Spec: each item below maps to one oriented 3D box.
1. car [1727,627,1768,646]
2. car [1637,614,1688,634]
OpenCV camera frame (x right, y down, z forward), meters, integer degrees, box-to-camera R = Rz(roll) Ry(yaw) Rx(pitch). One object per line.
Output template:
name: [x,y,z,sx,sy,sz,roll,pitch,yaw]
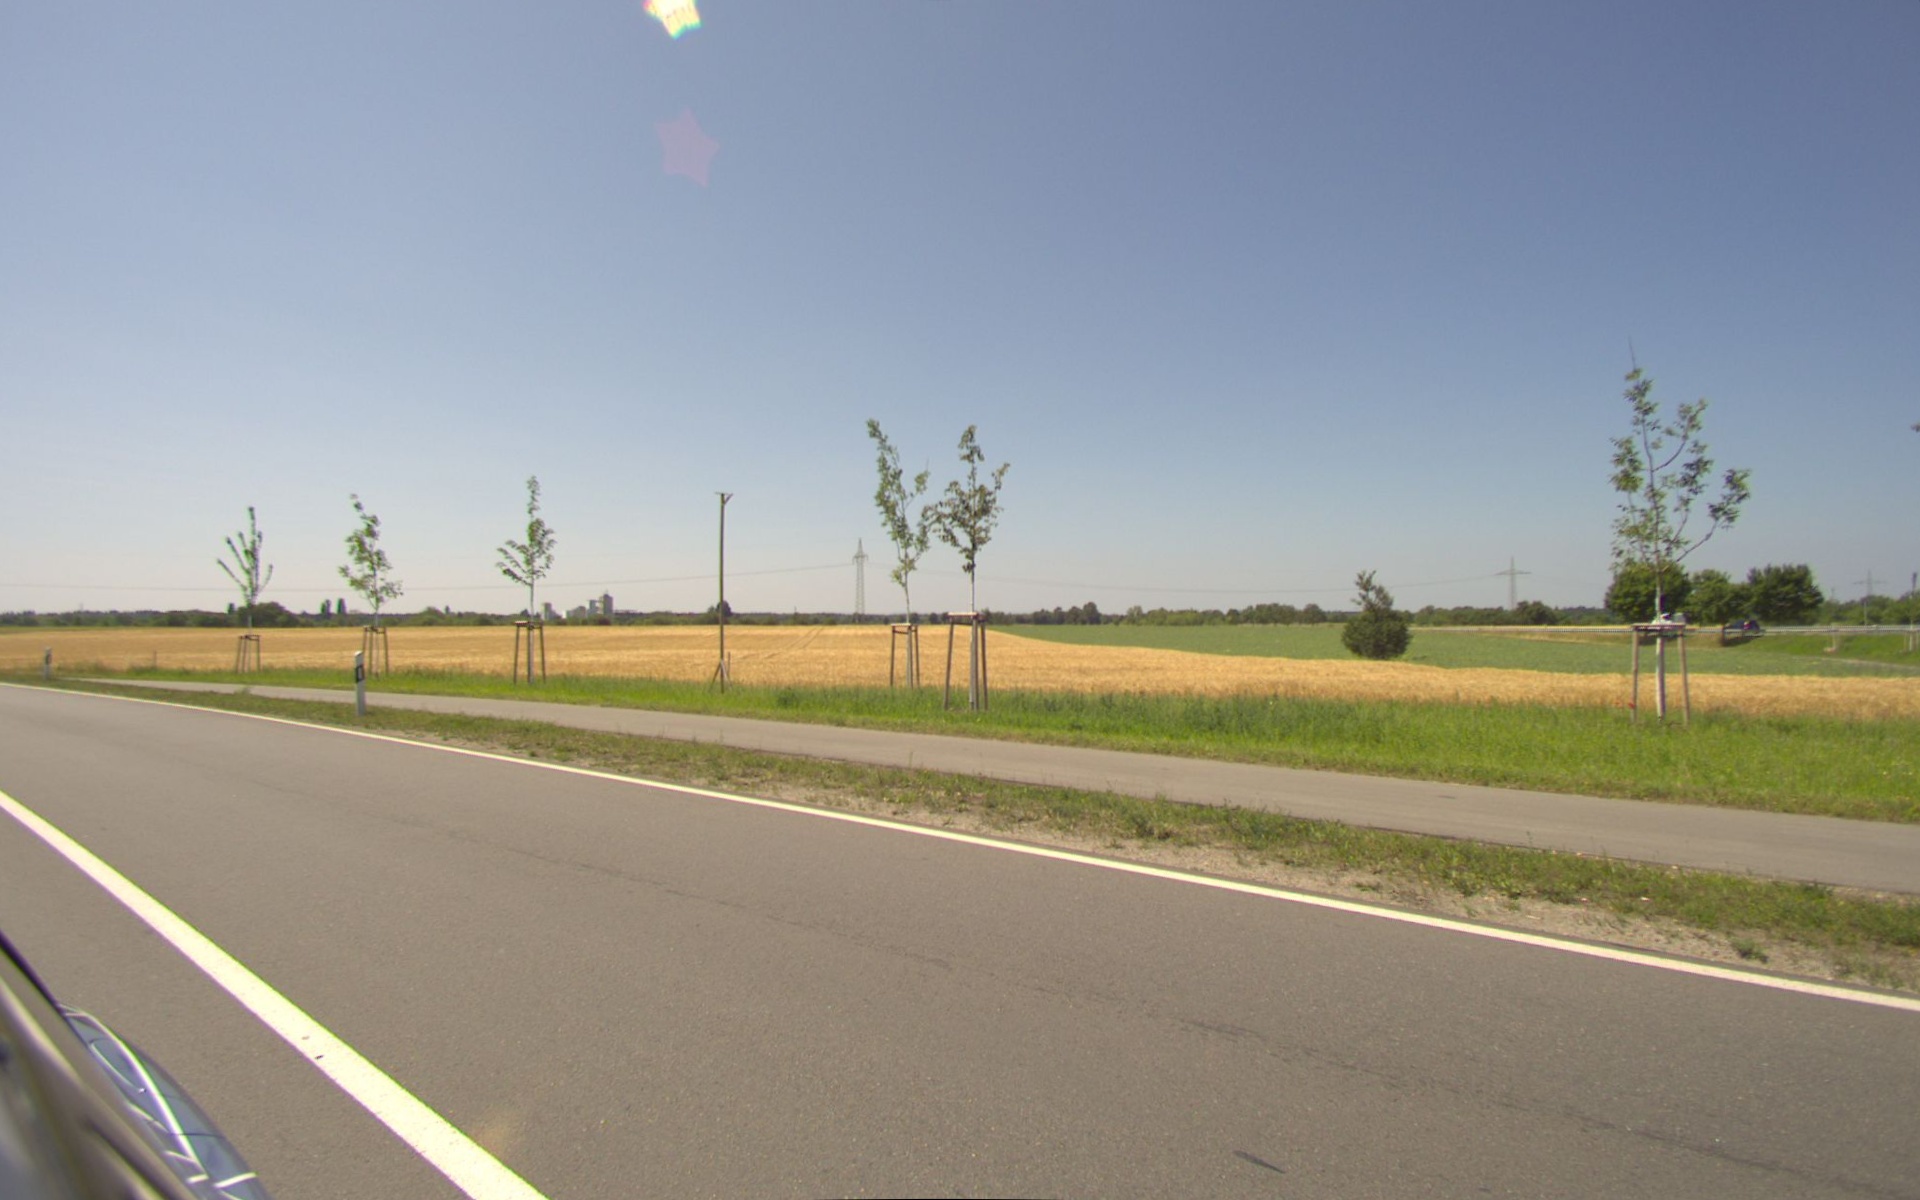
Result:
car: [91.110,4.177,117.156,1.976,2.029,3.992,-1,1,6]
car: [92.089,3.107,132.730,2.215,2.440,5.940,-1,-1,-2]
